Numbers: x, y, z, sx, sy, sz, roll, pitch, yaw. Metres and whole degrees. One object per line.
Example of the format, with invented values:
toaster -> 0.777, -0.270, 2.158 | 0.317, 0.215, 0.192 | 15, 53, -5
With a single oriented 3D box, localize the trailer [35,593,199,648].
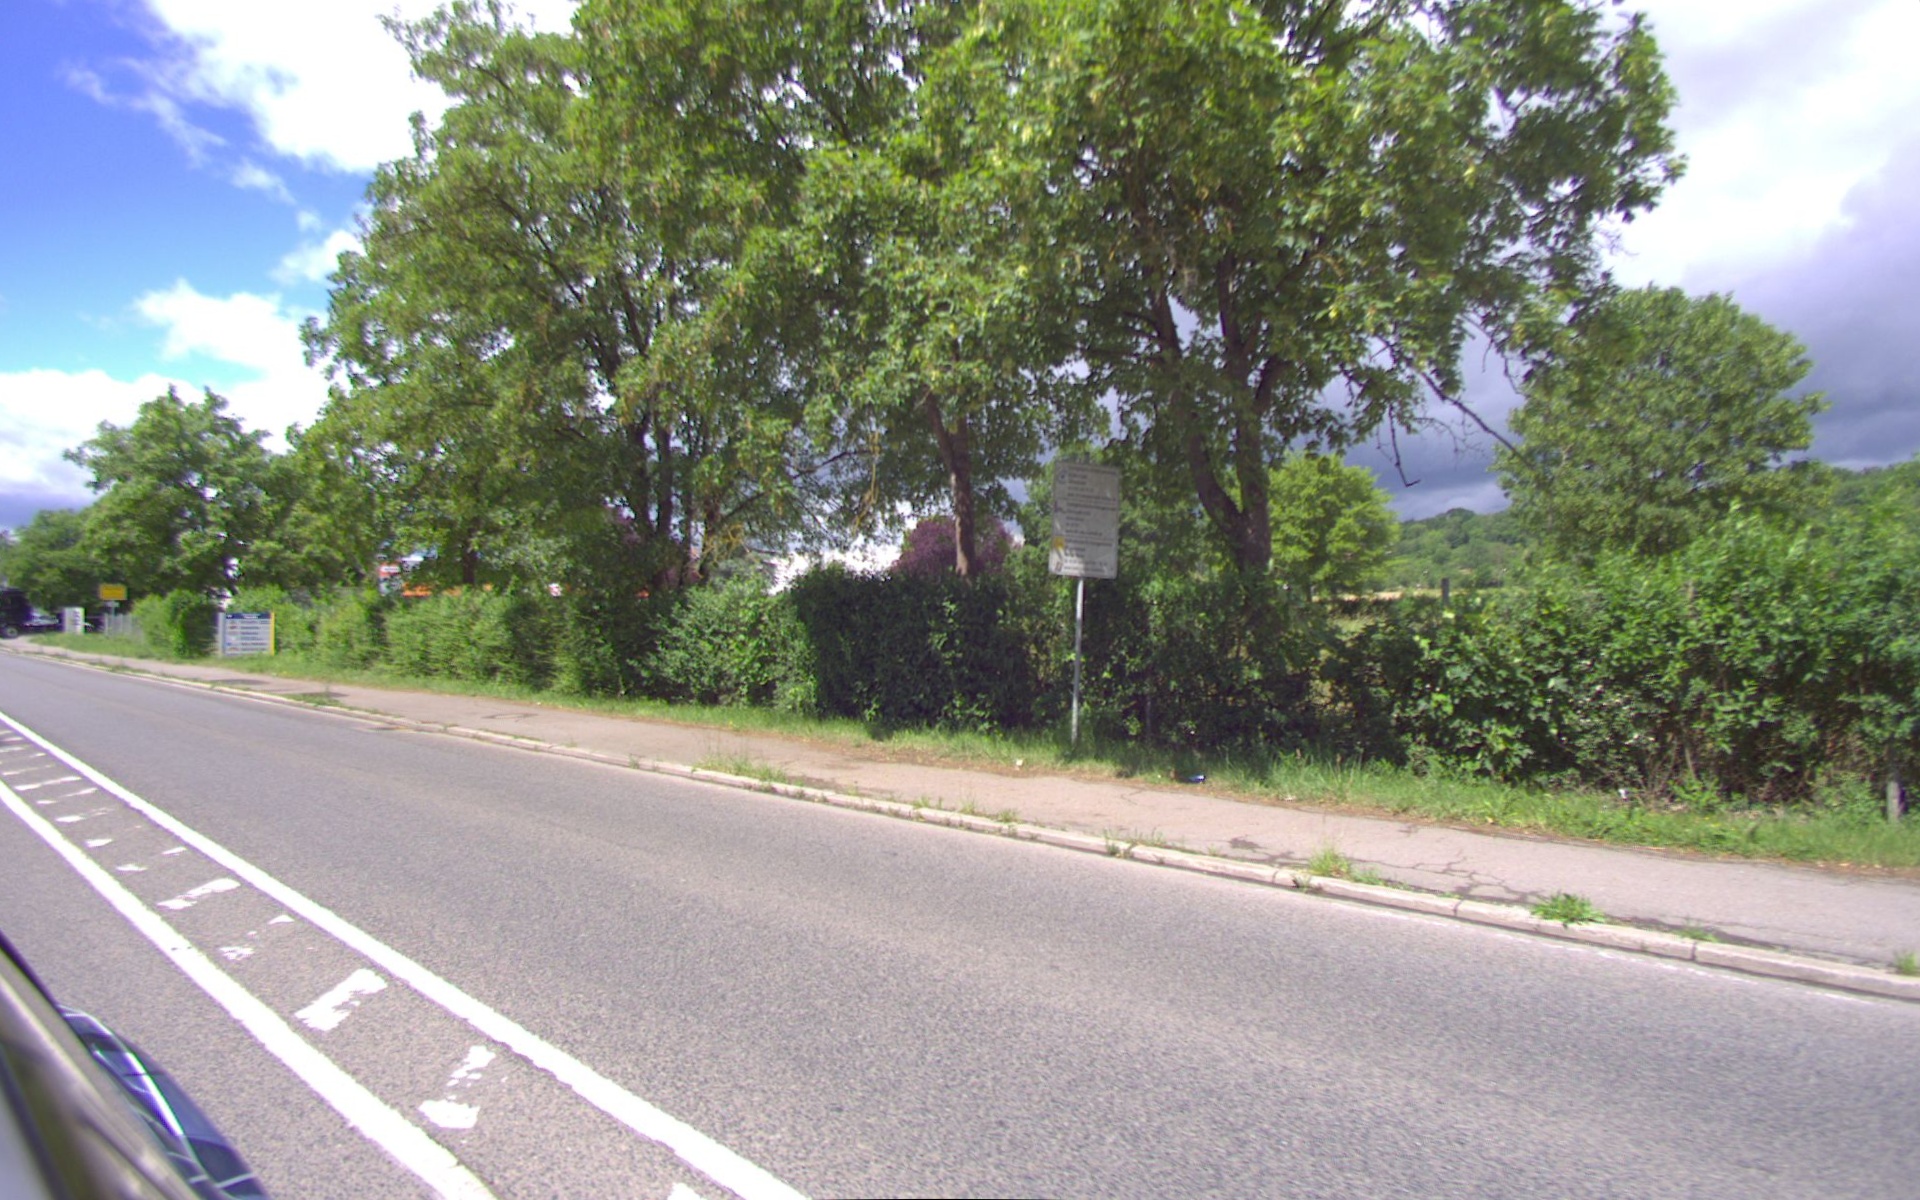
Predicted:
trailer -> -66.312, 1.629, 79.941 | 3.302, 4.114, 9.383 | 0, -2, 26

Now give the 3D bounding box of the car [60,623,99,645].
car -> -72.497, 2.788, 83.299 | 4.600, 1.734, 1.909 | -2, -2, 43

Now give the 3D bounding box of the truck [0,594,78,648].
truck -> -69.182, 1.555, 74.743 | 2.979, 3.853, 5.503 | -1, -2, 37
